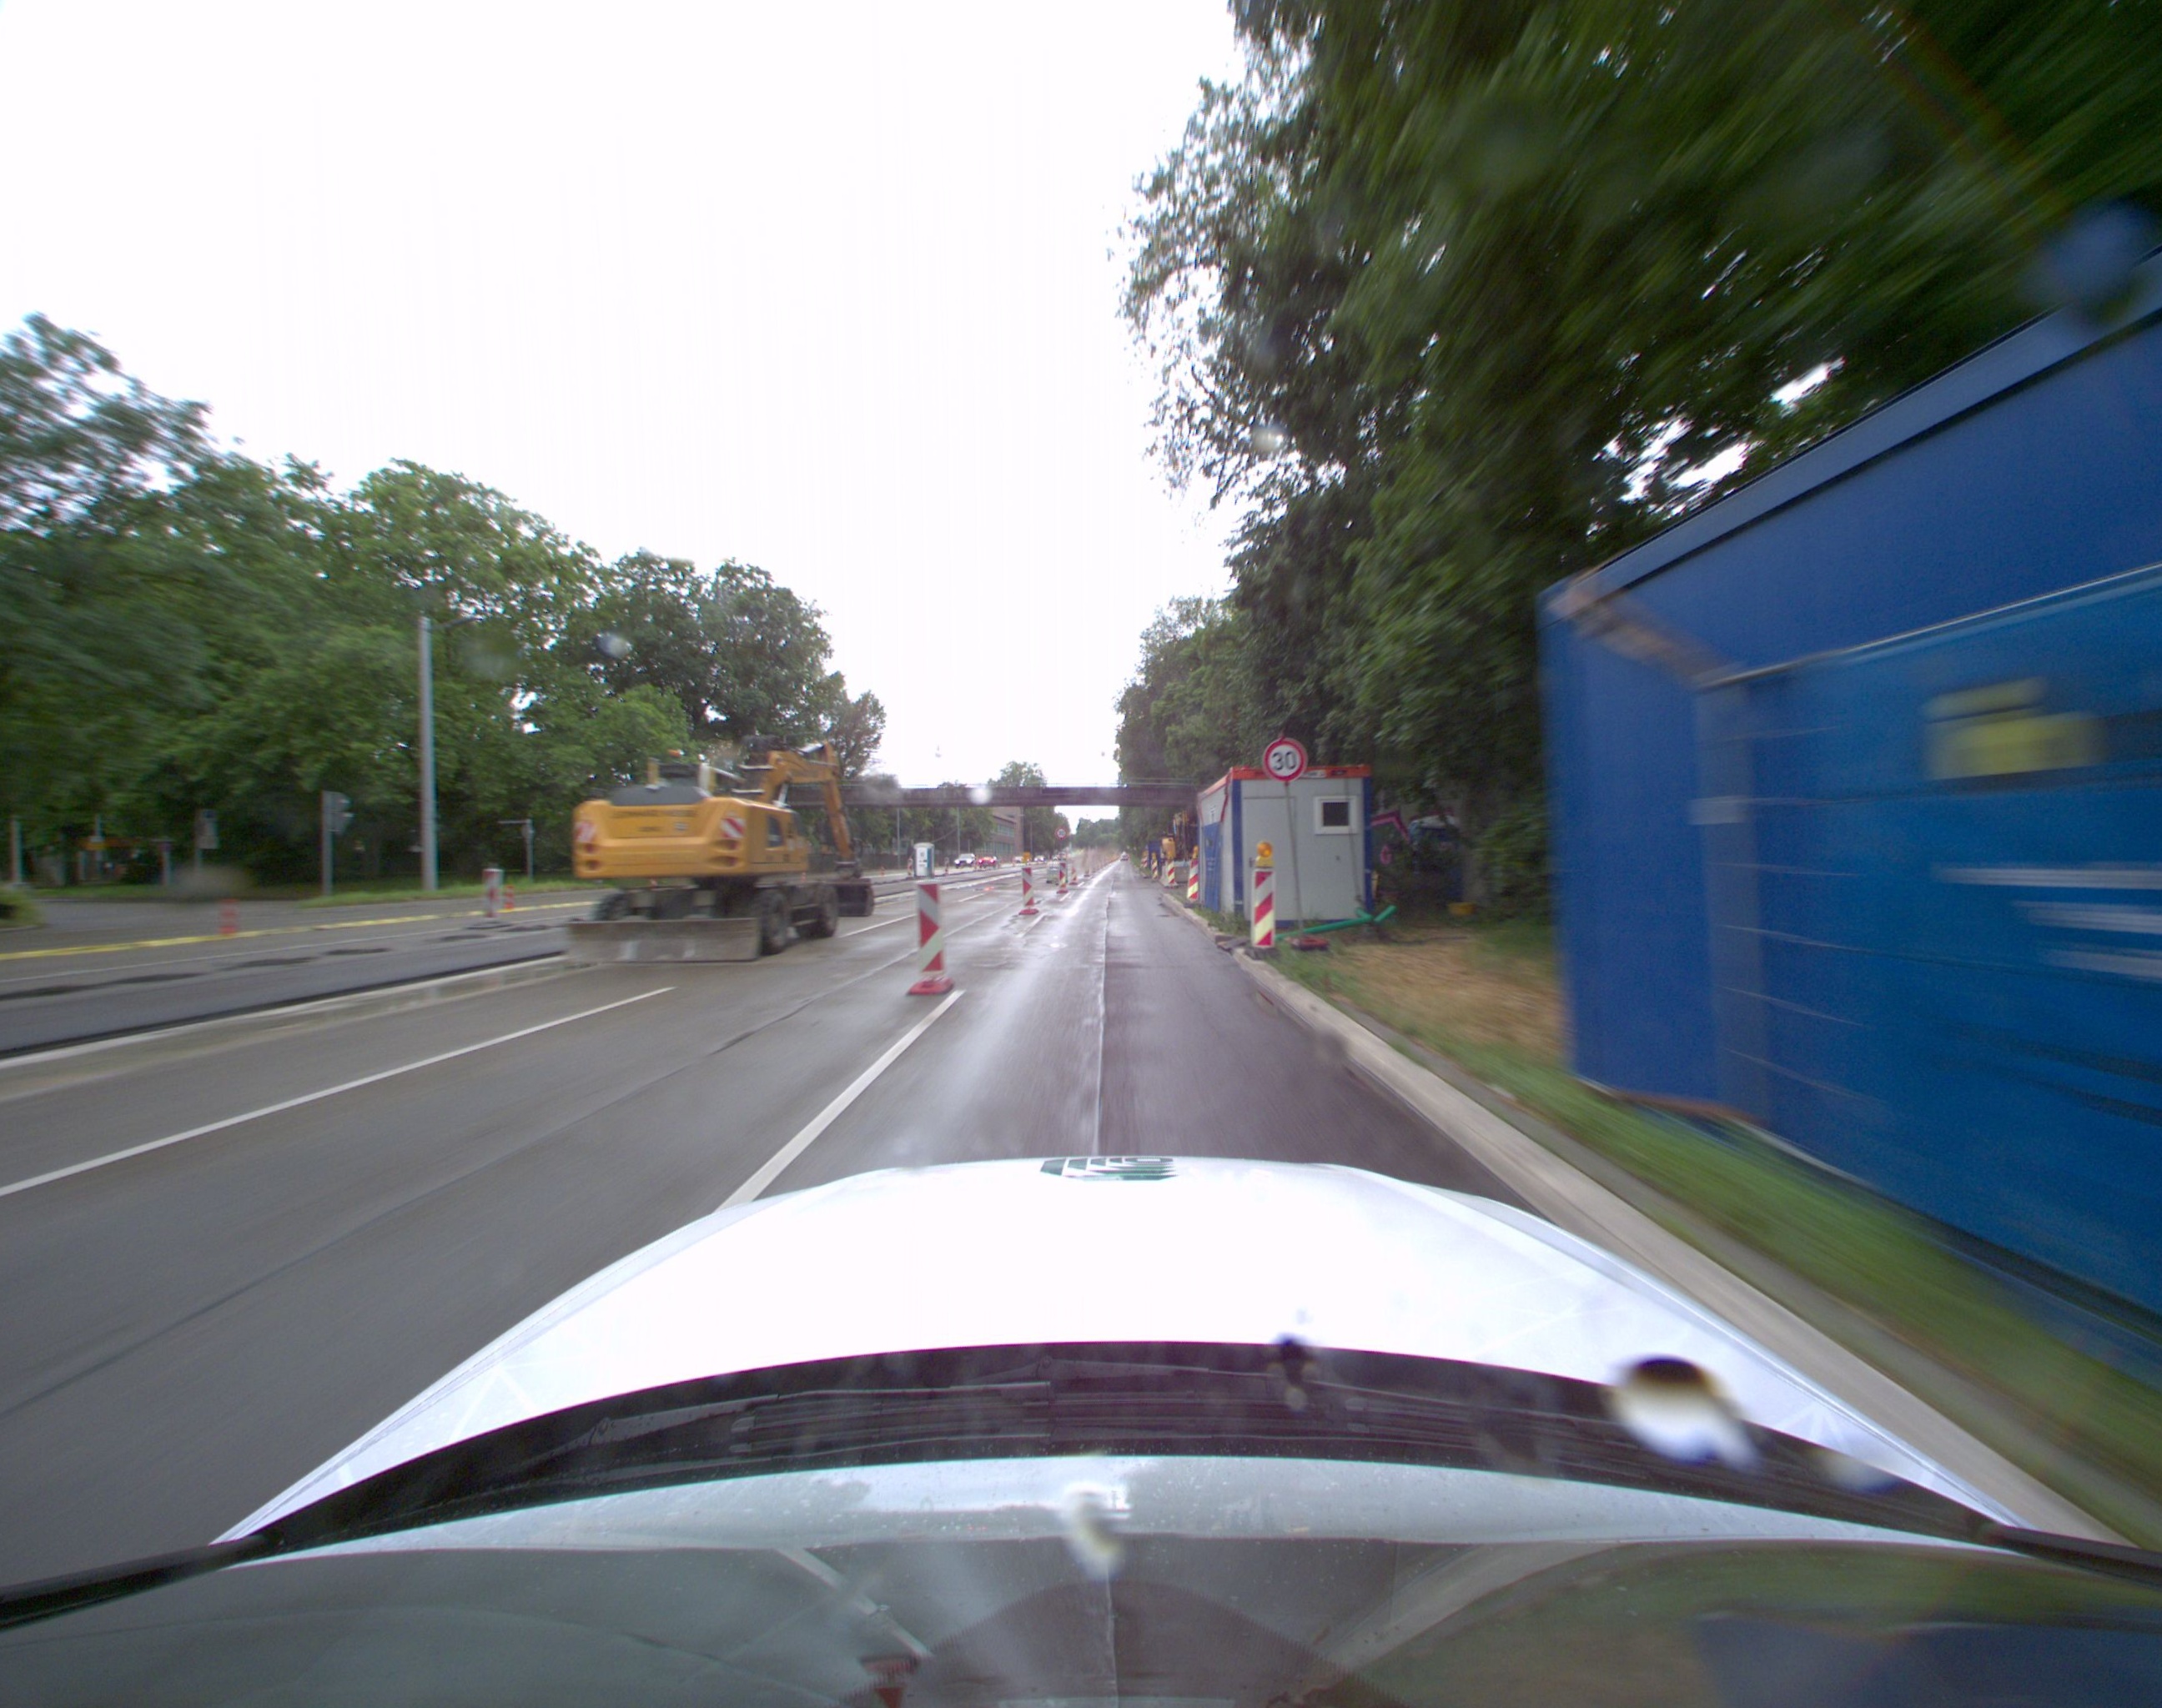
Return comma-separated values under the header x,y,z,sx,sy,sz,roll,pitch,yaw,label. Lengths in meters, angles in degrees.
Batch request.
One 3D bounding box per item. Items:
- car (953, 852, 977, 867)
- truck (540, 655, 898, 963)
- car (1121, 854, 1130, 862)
x,y,z,sx,sy,sz,roll,pitch,yaw,label
-13.978,0.669,98.274,1.962,1.806,4.612,-2,0,4,car
-6.232,-0.617,16.727,2.890,4.259,10.746,0,0,-2,truck
10.007,0.935,184.706,1.985,1.640,4.002,-2,0,2,car
